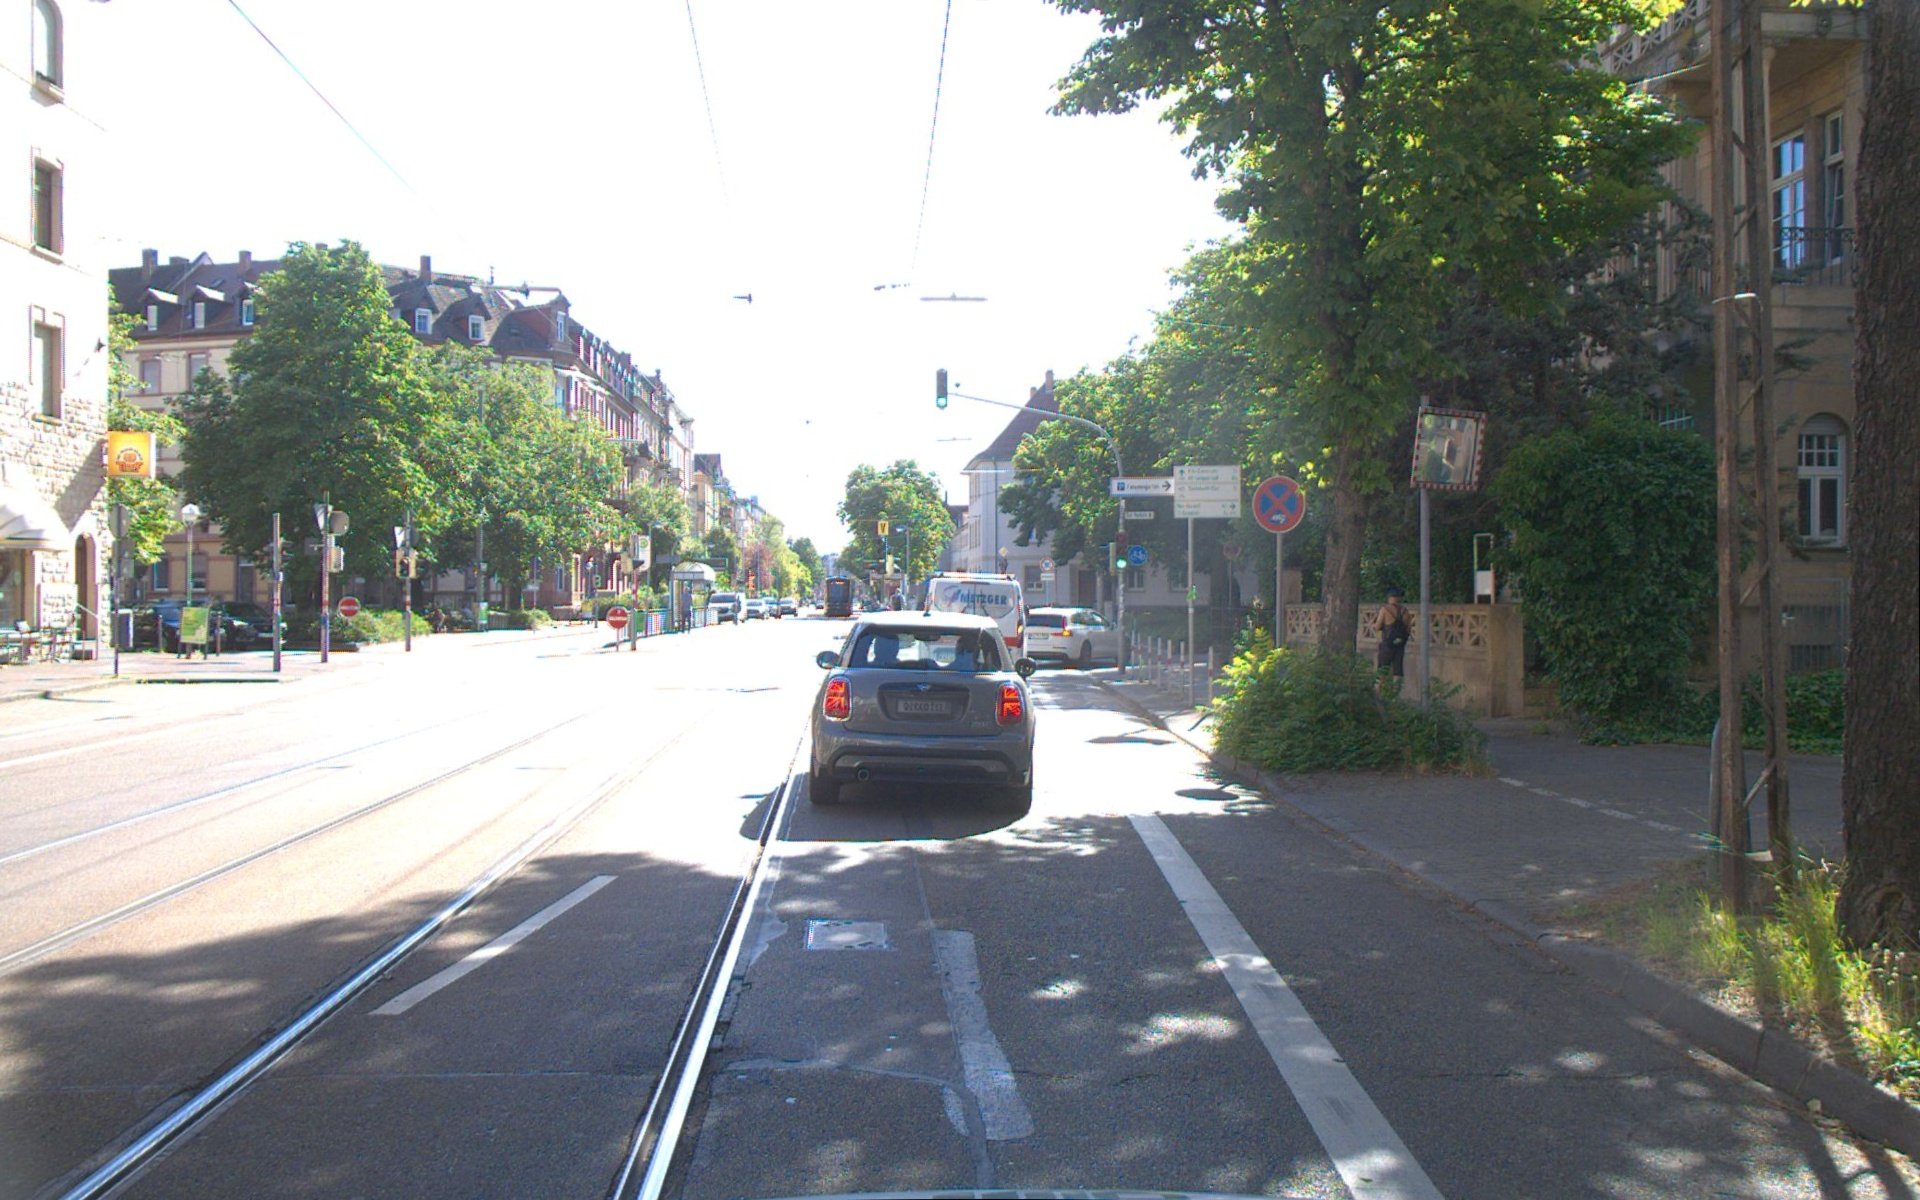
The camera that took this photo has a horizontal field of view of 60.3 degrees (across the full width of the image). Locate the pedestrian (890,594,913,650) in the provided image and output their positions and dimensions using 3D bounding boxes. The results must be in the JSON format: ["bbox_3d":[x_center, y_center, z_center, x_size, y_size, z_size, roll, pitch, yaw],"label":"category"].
[{"bbox_3d":[-2.163,0.812,60.957,0.780,2.049,0.740,1,-1,-3],"label":"pedestrian"}]

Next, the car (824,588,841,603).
[{"bbox_3d":[-13.962,-0.465,181.151,1.827,1.591,3.995,1,-1,-5],"label":"car"}]

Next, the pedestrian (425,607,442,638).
[{"bbox_3d":[-21.131,0.888,66.373,0.570,1.223,0.603,-1,0,-24],"label":"pedestrian"}]

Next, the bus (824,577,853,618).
[{"bbox_3d":[-10.899,-0.159,147.864,2.339,3.558,7.374,1,-1,-6],"label":"bus"}]

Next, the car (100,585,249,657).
[{"bbox_3d":[-23.259,0.609,48.976,3.909,2.049,1.998,1,-1,27],"label":"car"}]

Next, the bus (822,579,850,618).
[{"bbox_3d":[-11.665,-0.098,155.266,2.339,3.558,7.374,1,-1,-6],"label":"bus"}]

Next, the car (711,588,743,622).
[{"bbox_3d":[-15.001,0.344,106.292,1.956,2.049,5.019,1,-1,-9],"label":"car"}]

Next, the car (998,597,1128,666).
[{"bbox_3d":[2.651,0.792,41.763,1.954,1.646,3.997,1,-1,25],"label":"car"}]

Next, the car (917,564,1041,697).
[{"bbox_3d":[0.262,0.553,30.934,2.076,2.247,4.942,1,-1,-2],"label":"car"}]

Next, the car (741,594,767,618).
[{"bbox_3d":[-15.128,0.451,121.757,1.741,1.646,3.995,1,-1,-5],"label":"car"}]

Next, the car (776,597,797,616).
[{"bbox_3d":[-15.522,0.605,147.977,1.741,1.646,3.995,1,-1,-5],"label":"car"}]

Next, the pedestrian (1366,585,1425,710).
[{"bbox_3d":[6.023,0.651,22.895,0.580,1.700,0.646,-1,-1,-2],"label":"pedestrian"}]

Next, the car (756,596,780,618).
[{"bbox_3d":[-15.073,0.537,129.782,1.741,1.646,3.995,1,-1,-5],"label":"car"}]

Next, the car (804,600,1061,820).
[{"bbox_3d":[-0.250,0.798,13.616,1.779,1.514,3.998,1,-1,-2],"label":"car"}]

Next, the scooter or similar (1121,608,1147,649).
[{"bbox_3d":[5.710,0.927,54.335,0.662,1.333,1.328,1,-1,-3],"label":"scooter or similar"}]

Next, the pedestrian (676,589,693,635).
[{"bbox_3d":[-10.907,0.471,65.542,0.569,1.826,0.604,0,0,-20],"label":"pedestrian"}]

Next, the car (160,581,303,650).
[{"bbox_3d":[-22.499,0.473,51.096,3.909,2.049,1.998,1,-1,27],"label":"car"}]
